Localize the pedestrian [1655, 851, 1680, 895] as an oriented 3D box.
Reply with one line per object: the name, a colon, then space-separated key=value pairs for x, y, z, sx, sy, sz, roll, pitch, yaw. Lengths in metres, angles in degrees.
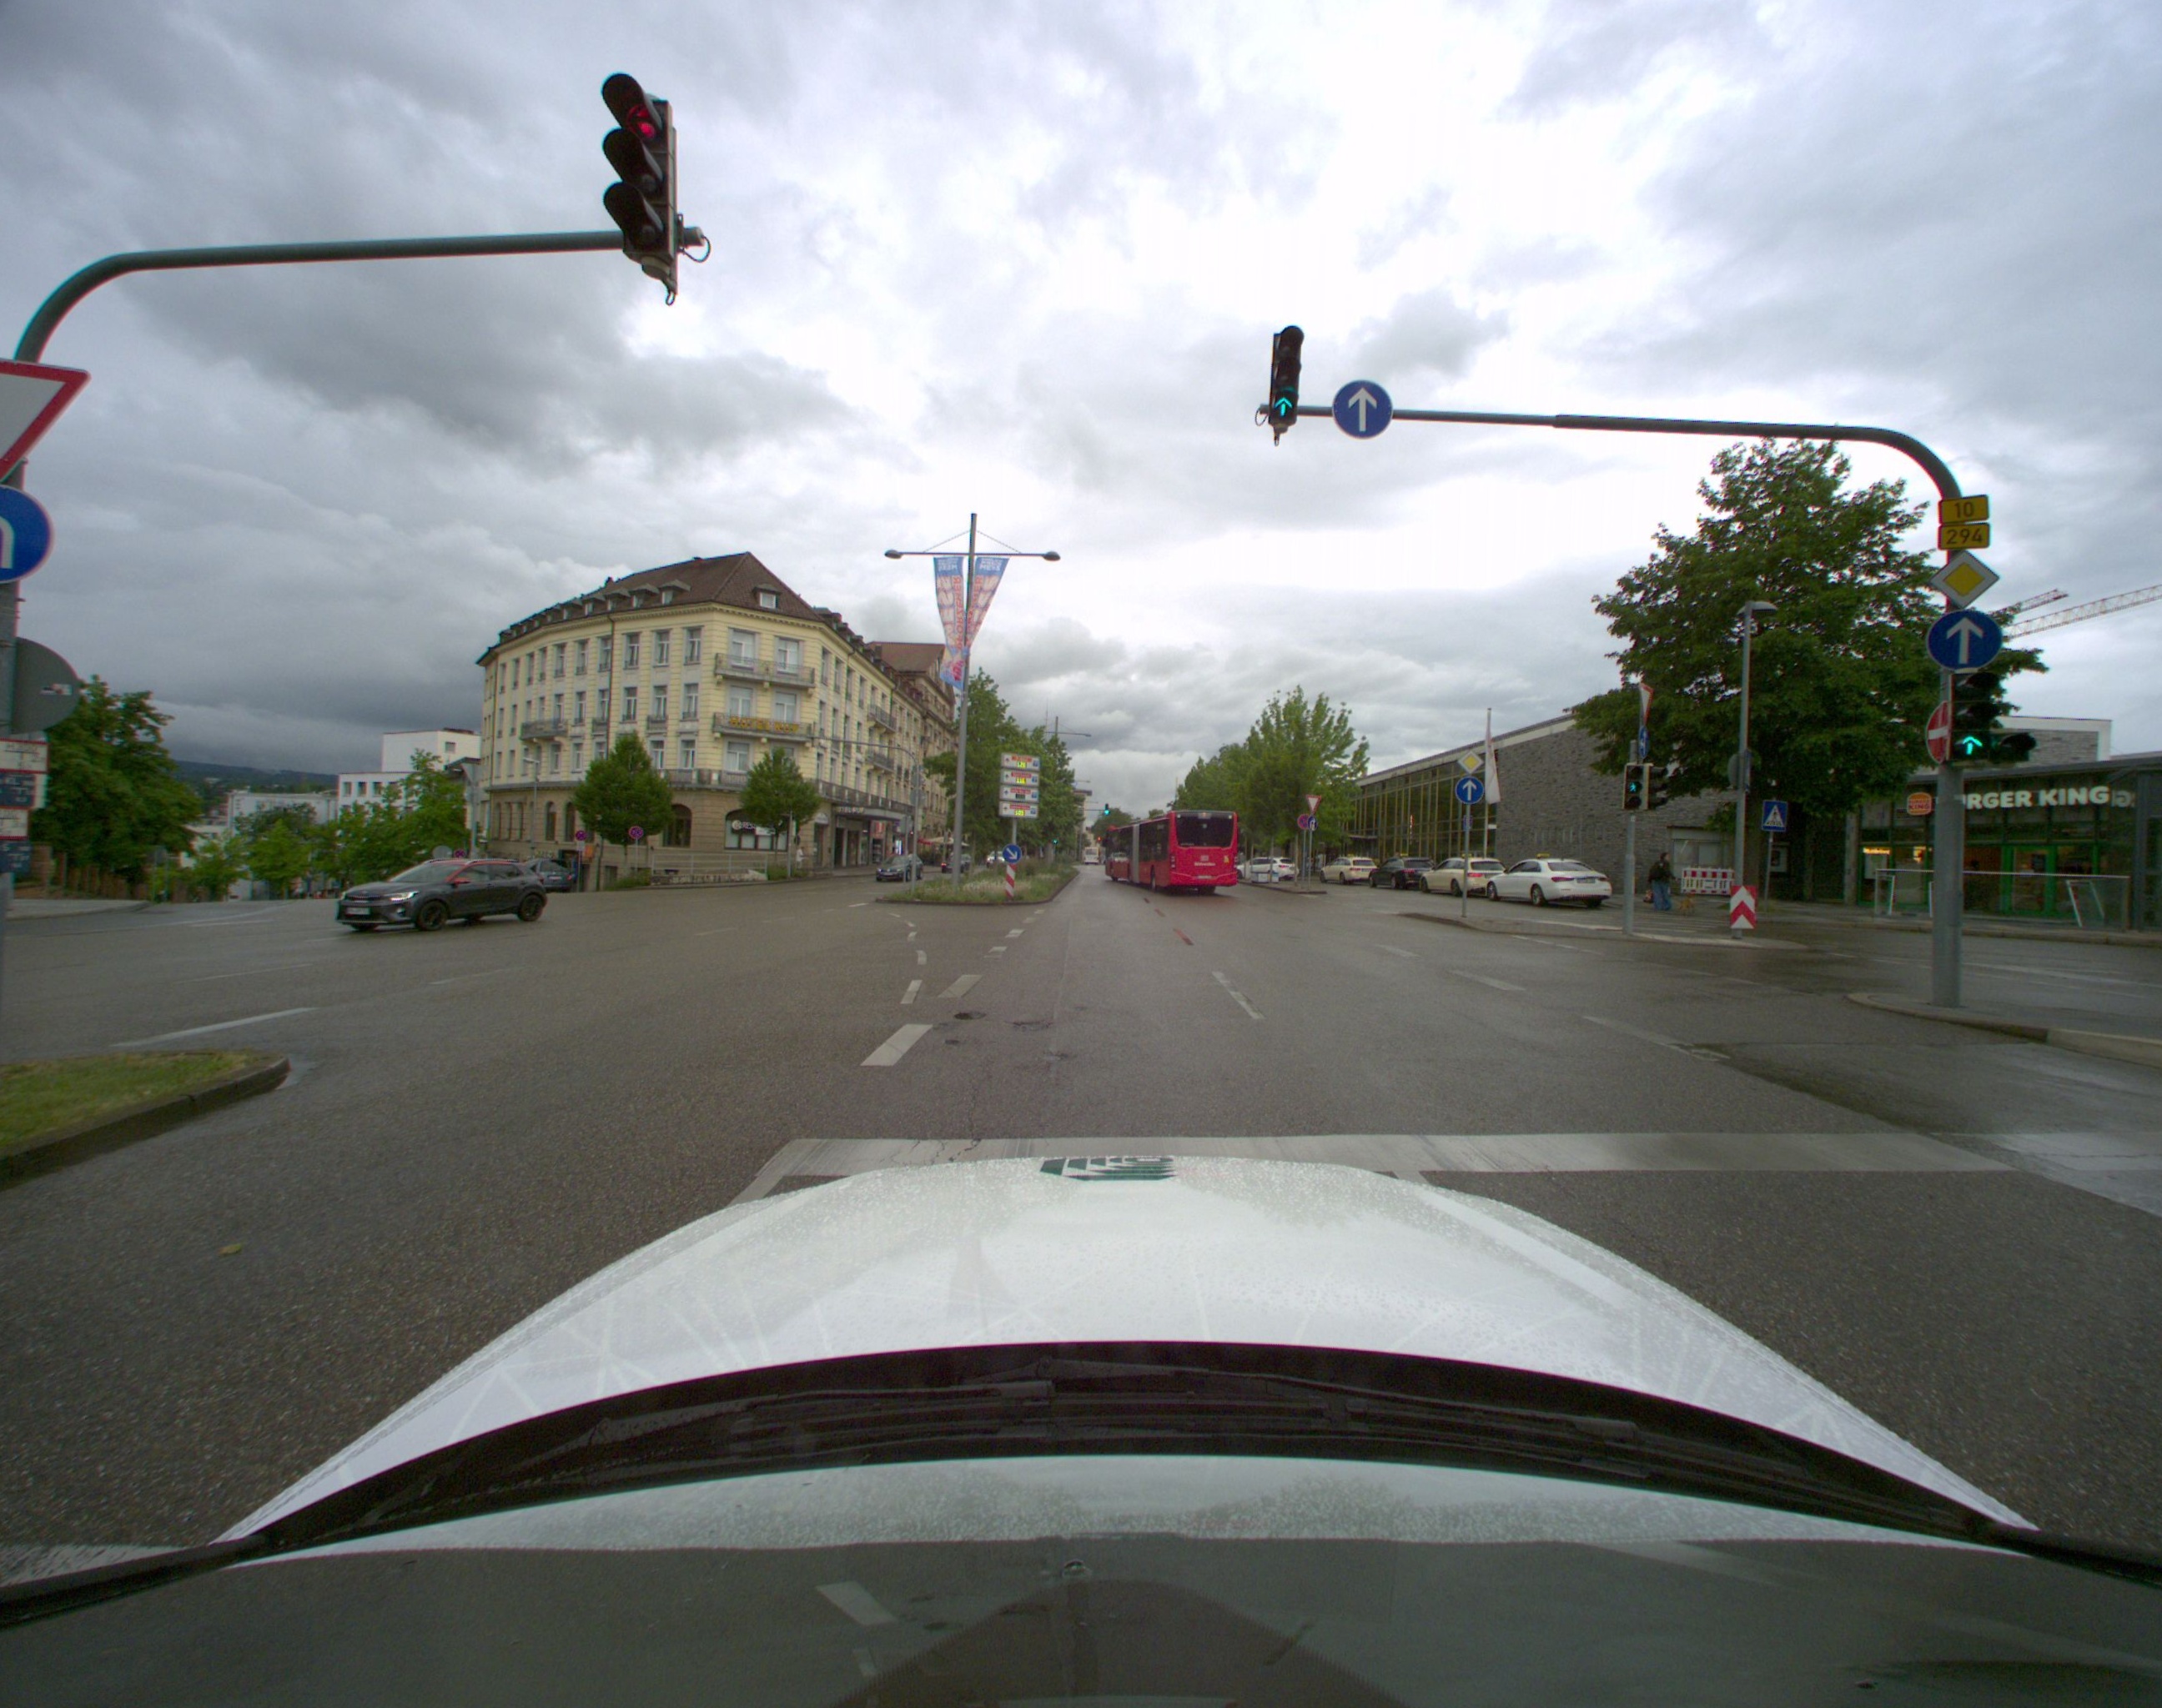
pedestrian: x=21.828 y=0.694 z=30.320 sx=0.558 sy=1.633 sz=0.566 roll=0 pitch=0 yaw=0

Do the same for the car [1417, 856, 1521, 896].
car: x=14.796 y=0.787 z=31.366 sx=1.840 sy=1.452 sz=4.666 roll=0 pitch=0 yaw=0

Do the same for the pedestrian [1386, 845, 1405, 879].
pedestrian: x=18.767 y=0.496 z=48.594 sx=0.808 sy=2.014 sz=0.922 roll=0 pitch=0 yaw=2

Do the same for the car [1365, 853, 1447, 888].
car: x=14.894 y=0.711 z=37.592 sx=1.907 sy=1.524 sz=4.741 roll=0 pitch=0 yaw=0

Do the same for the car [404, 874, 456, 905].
car: x=-41.179 y=2.214 z=51.482 sx=3.575 sy=1.812 sz=1.788 roll=0 pitch=0 yaw=38

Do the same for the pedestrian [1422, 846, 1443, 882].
pedestrian: x=19.839 y=0.552 z=45.983 sx=0.808 sy=2.014 sz=0.921 roll=0 pitch=0 yaw=1

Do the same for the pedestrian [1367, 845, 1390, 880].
pedestrian: x=17.296 y=0.476 z=47.350 sx=0.814 sy=2.014 sz=0.914 roll=1 pitch=0 yaw=-22

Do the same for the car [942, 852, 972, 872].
car: x=-9.497 y=0.590 z=62.441 sx=1.750 sy=1.369 sz=4.057 roll=0 pitch=1 yaw=-2

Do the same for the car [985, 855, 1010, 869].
car: x=-8.179 y=0.774 z=80.042 sx=1.747 sy=1.369 sz=4.065 roll=0 pitch=0 yaw=4

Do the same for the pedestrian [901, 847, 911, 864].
pedestrian: x=-16.162 y=0.119 z=75.205 sx=0.666 sy=1.510 sz=0.513 roll=0 pitch=-1 yaw=-36

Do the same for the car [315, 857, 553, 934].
car: x=-14.252 y=0.846 z=18.267 sx=1.620 sy=1.476 sz=4.039 roll=-2 pitch=-1 yaw=11

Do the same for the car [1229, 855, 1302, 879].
car: x=11.495 y=0.787 z=50.935 sx=1.788 sy=1.385 sz=4.318 roll=0 pitch=0 yaw=-39

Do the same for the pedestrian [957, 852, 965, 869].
pedestrian: x=-11.506 y=0.624 z=78.073 sx=0.672 sy=1.701 sz=0.634 roll=0 pitch=0 yaw=1

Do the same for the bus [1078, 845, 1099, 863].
bus: x=1.439 y=-0.003 z=156.081 sx=3.748 sy=3.209 sz=15.525 roll=0 pitch=0 yaw=1

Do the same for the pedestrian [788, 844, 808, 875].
pedestrian: x=-17.155 y=0.335 z=49.392 sx=0.860 sy=1.878 sz=1.023 roll=0 pitch=0 yaw=1

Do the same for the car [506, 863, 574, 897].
car: x=-27.091 y=1.274 z=40.760 sx=3.949 sy=1.568 sz=1.812 roll=0 pitch=0 yaw=41

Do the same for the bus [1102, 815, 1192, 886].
bus: x=3.124 y=-0.138 z=41.816 sx=2.740 sy=3.174 sz=10.172 roll=0 pitch=0 yaw=-6

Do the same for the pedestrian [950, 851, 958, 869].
pedestrian: x=-12.181 y=0.568 z=78.038 sx=0.573 sy=1.732 sz=0.609 roll=0 pitch=0 yaw=1

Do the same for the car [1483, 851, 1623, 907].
car: x=14.656 y=0.721 z=25.647 sx=1.768 sy=1.589 sz=4.615 roll=0 pitch=0 yaw=0

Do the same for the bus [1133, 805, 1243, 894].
bus: x=4.057 y=-0.153 z=32.996 sx=2.739 sy=3.174 sz=8.105 roll=0 pitch=0 yaw=-5

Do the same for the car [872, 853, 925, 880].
car: x=-10.173 y=0.695 z=45.593 sx=1.747 sy=1.441 sz=4.065 roll=0 pitch=0 yaw=4

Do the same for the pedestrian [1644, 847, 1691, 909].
pedestrian: x=16.246 y=0.660 z=22.558 sx=0.805 sy=1.674 sz=0.713 roll=0 pitch=0 yaw=1

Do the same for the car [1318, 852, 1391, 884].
car: x=14.691 y=0.714 z=44.086 sx=1.990 sy=1.600 sz=4.814 roll=0 pitch=0 yaw=-5

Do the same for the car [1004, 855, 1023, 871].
car: x=-7.695 y=0.993 z=93.326 sx=1.989 sy=1.758 sz=3.995 roll=0 pitch=0 yaw=-3
